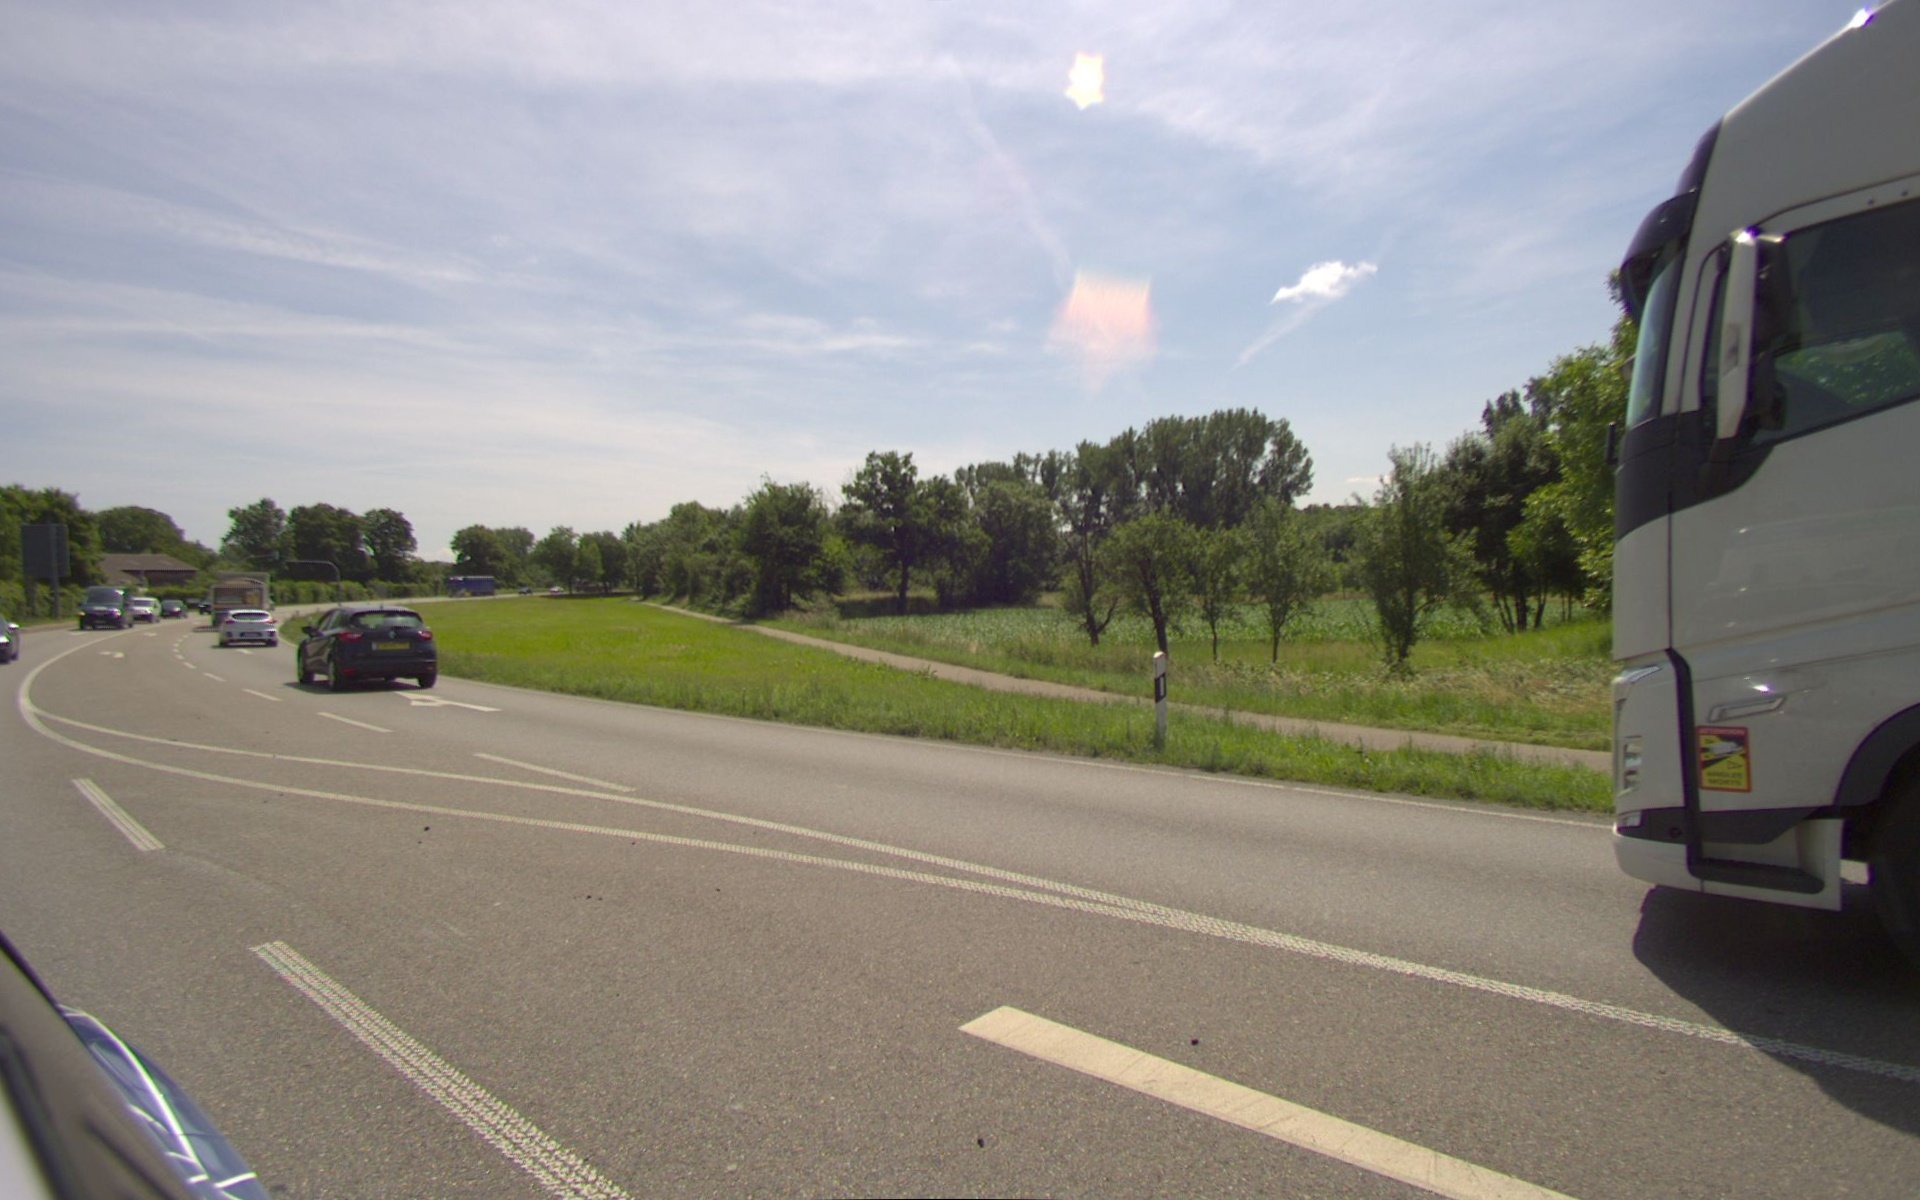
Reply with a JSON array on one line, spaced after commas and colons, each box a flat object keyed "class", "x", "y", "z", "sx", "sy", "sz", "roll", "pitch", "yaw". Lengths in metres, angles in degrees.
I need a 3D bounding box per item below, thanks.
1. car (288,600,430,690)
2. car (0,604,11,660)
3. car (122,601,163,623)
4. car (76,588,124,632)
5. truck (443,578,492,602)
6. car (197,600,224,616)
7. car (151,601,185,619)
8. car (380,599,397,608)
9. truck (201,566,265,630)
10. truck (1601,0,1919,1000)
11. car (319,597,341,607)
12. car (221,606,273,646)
[{"class": "car", "x": -11.791, "y": 0.800, "z": 19.755, "sx": 1.597, "sy": 1.570, "sz": 4.004, "roll": 0, "pitch": 0, "yaw": -43}, {"class": "car", "x": -27.231, "y": 0.897, "z": 27.548, "sx": 1.756, "sy": 1.504, "sz": 4.165, "roll": -1, "pitch": 0, "yaw": -39}, {"class": "car", "x": -58.309, "y": 0.813, "z": 72.268, "sx": 1.754, "sy": 1.504, "sz": 4.170, "roll": 0, "pitch": 0, "yaw": -32}, {"class": "car", "x": -50.630, "y": 0.570, "z": 59.558, "sx": 1.952, "sy": 2.538, "sz": 4.162, "roll": 0, "pitch": 0, "yaw": -43}, {"class": "truck", "x": -98.872, "y": -1.900, "z": 203.543, "sx": 2.706, "sy": 4.643, "sz": 16.169, "roll": 0, "pitch": 0, "yaw": -2}, {"class": "car", "x": -72.585, "y": 0.809, "z": 98.100, "sx": 1.754, "sy": 1.504, "sz": 4.170, "roll": 0, "pitch": 0, "yaw": -32}, {"class": "car", "x": -65.927, "y": 0.815, "z": 84.322, "sx": 1.754, "sy": 1.504, "sz": 4.170, "roll": 0, "pitch": 0, "yaw": -32}, {"class": "car", "x": -99.291, "y": 0.591, "z": 175.847, "sx": 1.754, "sy": 1.504, "sz": 4.169, "roll": 0, "pitch": 0, "yaw": -16}, {"class": "truck", "x": -43.475, "y": -0.125, "z": 60.694, "sx": 2.928, "sy": 3.597, "sz": 6.916, "roll": 0, "pitch": 0, "yaw": -34}, {"class": "truck", "x": 5.616, "y": -0.667, "z": 3.222, "sx": 5.701, "sy": 3.973, "sz": 2.750, "roll": -1, "pitch": -1, "yaw": 40}, {"class": "car", "x": -93.272, "y": 0.341, "z": 149.842, "sx": 1.754, "sy": 1.504, "sz": 4.169, "roll": 0, "pitch": 0, "yaw": -16}, {"class": "car", "x": -27.924, "y": 0.976, "z": 39.628, "sx": 1.594, "sy": 1.473, "sz": 4.010, "roll": 0, "pitch": 0, "yaw": -35}]
